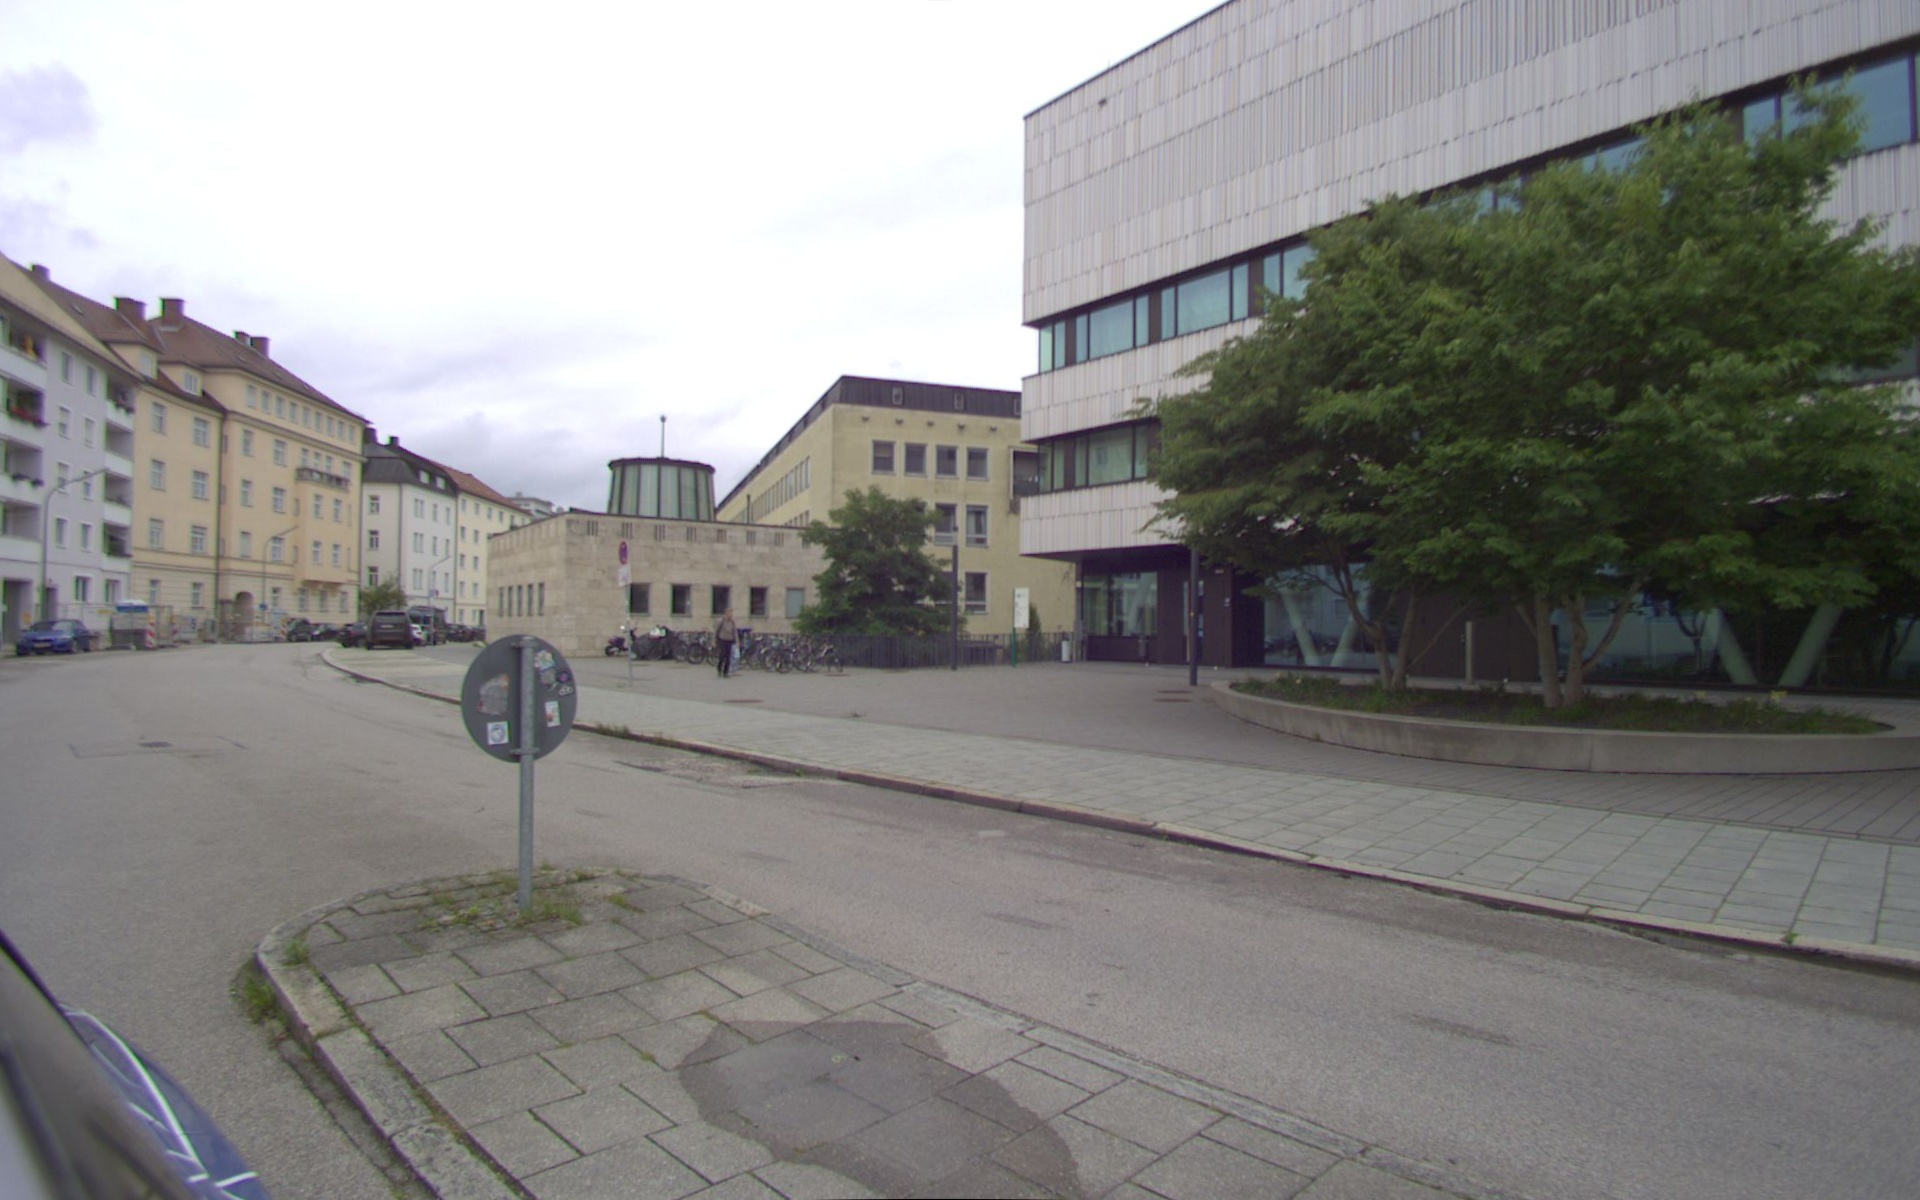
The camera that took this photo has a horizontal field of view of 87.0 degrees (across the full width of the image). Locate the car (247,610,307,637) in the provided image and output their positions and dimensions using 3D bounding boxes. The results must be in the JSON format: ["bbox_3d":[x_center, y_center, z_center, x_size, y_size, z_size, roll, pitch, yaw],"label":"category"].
[{"bbox_3d":[-48.409,1.661,71.803,1.814,1.812,4.244,-1,-1,-7],"label":"car"}]

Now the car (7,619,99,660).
[{"bbox_3d":[-36.159,1.553,40.481,1.805,1.453,4.642,-3,0,-31],"label":"car"}]

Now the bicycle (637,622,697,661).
[{"bbox_3d":[-10.873,1.539,37.575,2.072,1.362,0.614,0,-1,-41],"label":"bicycle"}]

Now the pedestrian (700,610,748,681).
[{"bbox_3d":[-6.221,1.180,26.705,1.014,1.796,0.778,0,0,39],"label":"pedestrian"}]

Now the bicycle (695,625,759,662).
[{"bbox_3d":[-7.466,1.393,32.491,0.617,1.119,2.023,-2,-1,43],"label":"bicycle"}]

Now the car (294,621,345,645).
[{"bbox_3d":[-48.450,2.461,76.592,1.814,1.743,3.735,-1,-1,-6],"label":"car"}]

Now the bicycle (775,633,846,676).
[{"bbox_3d":[-4.268,1.544,29.015,2.021,1.119,0.617,0,-1,-43],"label":"bicycle"}]

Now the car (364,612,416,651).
[{"bbox_3d":[-27.807,1.537,49.306,1.966,1.785,4.828,1,-2,-32],"label":"car"}]

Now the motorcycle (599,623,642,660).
[{"bbox_3d":[-13.769,1.672,41.031,1.544,1.416,0.516,0,-1,-38],"label":"motorcycle"}]

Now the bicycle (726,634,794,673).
[{"bbox_3d":[-6.202,1.652,31.462,2.021,1.119,0.617,0,-1,-43],"label":"bicycle"}]

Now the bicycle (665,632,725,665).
[{"bbox_3d":[-9.533,1.724,36.425,2.020,1.119,0.617,0,-1,-41],"label":"bicycle"}]

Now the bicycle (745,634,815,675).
[{"bbox_3d":[-5.335,1.595,30.099,2.021,1.119,0.617,0,-1,-43],"label":"bicycle"}]

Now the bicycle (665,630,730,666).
[{"bbox_3d":[-8.609,1.561,33.241,0.617,1.119,2.023,-2,-1,43],"label":"bicycle"}]

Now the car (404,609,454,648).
[{"bbox_3d":[-37.627,2.018,71.897,2.114,2.594,6.231,2,-2,-19],"label":"car"}]

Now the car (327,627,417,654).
[{"bbox_3d":[-32.917,2.292,56.791,1.744,1.383,3.964,2,-2,32],"label":"car"}]

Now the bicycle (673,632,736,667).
[{"bbox_3d":[-8.856,1.710,35.064,2.018,1.119,0.618,0,-1,-37],"label":"bicycle"}]

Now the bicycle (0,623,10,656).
[{"bbox_3d":[-39.193,1.583,40.746,0.798,1.333,2.783,3,-2,-32],"label":"bicycle"}]

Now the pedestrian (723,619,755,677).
[{"bbox_3d":[-6.262,1.365,28.695,0.603,1.613,0.639,-2,-1,25],"label":"pedestrian"}]
